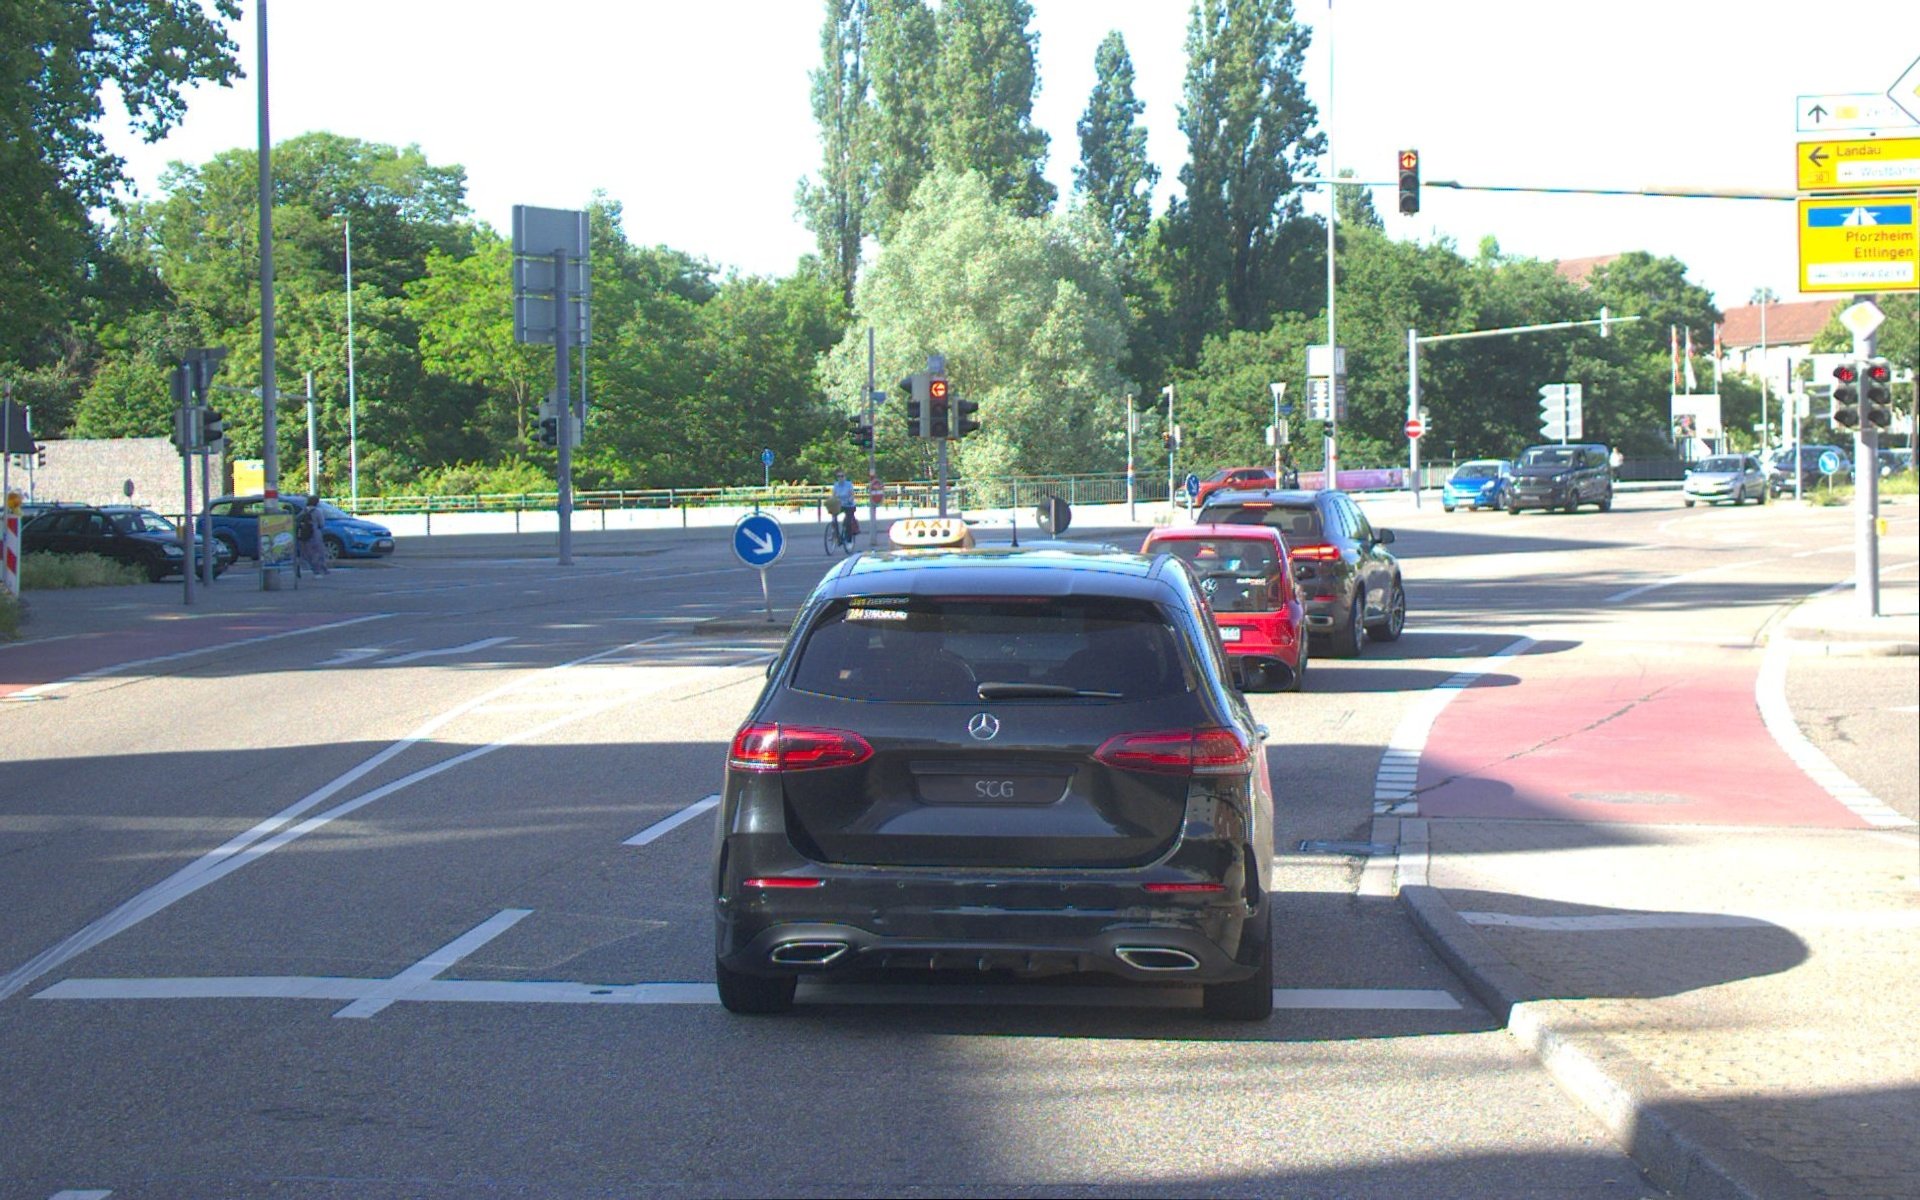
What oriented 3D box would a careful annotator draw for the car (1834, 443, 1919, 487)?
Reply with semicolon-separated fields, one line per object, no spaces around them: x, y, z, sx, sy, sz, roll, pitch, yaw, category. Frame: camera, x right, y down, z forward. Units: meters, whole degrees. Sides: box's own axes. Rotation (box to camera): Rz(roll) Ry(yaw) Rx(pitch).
31.625;-4.625;117.971;1.997;1.448;3.993;1;2;33;car

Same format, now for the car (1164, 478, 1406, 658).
3.630;-0.412;37.708;1.870;1.784;4.411;2;3;15;car

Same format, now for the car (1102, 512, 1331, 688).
2.466;-0.055;32.274;1.821;1.474;3.999;1;2;9;car

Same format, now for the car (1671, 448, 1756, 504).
22.009;-3.630;100.287;1.822;1.577;4.100;0;2;21;car

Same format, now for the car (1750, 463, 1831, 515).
26.449;-3.542;109.369;1.725;1.577;3.999;0;3;25;car

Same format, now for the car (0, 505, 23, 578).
-20.979;-1.140;68.427;4.443;1.433;1.823;0;2;29;car

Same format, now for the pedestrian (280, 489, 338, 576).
-12.023;-1.240;63.500;0.686;1.533;1.366;1;-2;4;pedestrian

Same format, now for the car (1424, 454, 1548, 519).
15.547;-3.368;101.477;1.997;1.858;4.844;0;3;30;car

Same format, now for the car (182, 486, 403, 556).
-14.402;-1.705;74.173;4.442;1.433;1.824;0;2;25;car

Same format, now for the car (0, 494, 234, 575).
-15.925;-1.219;64.363;4.443;1.433;1.823;0;2;29;car

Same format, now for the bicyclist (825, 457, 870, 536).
-2.464;-2.260;75.113;0.687;1.695;1.197;0;3;13;bicyclist

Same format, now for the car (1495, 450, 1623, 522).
16.767;-3.188;96.055;1.997;1.928;4.844;0;3;30;car

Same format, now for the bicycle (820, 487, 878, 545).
-2.420;-1.848;75.313;0.687;1.198;2.326;0;3;13;bicycle

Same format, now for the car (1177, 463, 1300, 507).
10.113;-4.182;124.781;3.986;1.543;2.001;-1;2;-19;car

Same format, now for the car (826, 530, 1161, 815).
0.178;0.361;20.982;1.820;1.484;4.001;-1;2;0;car

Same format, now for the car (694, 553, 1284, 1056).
0.066;0.597;12.240;1.751;1.488;4.000;0;0;-1;car
